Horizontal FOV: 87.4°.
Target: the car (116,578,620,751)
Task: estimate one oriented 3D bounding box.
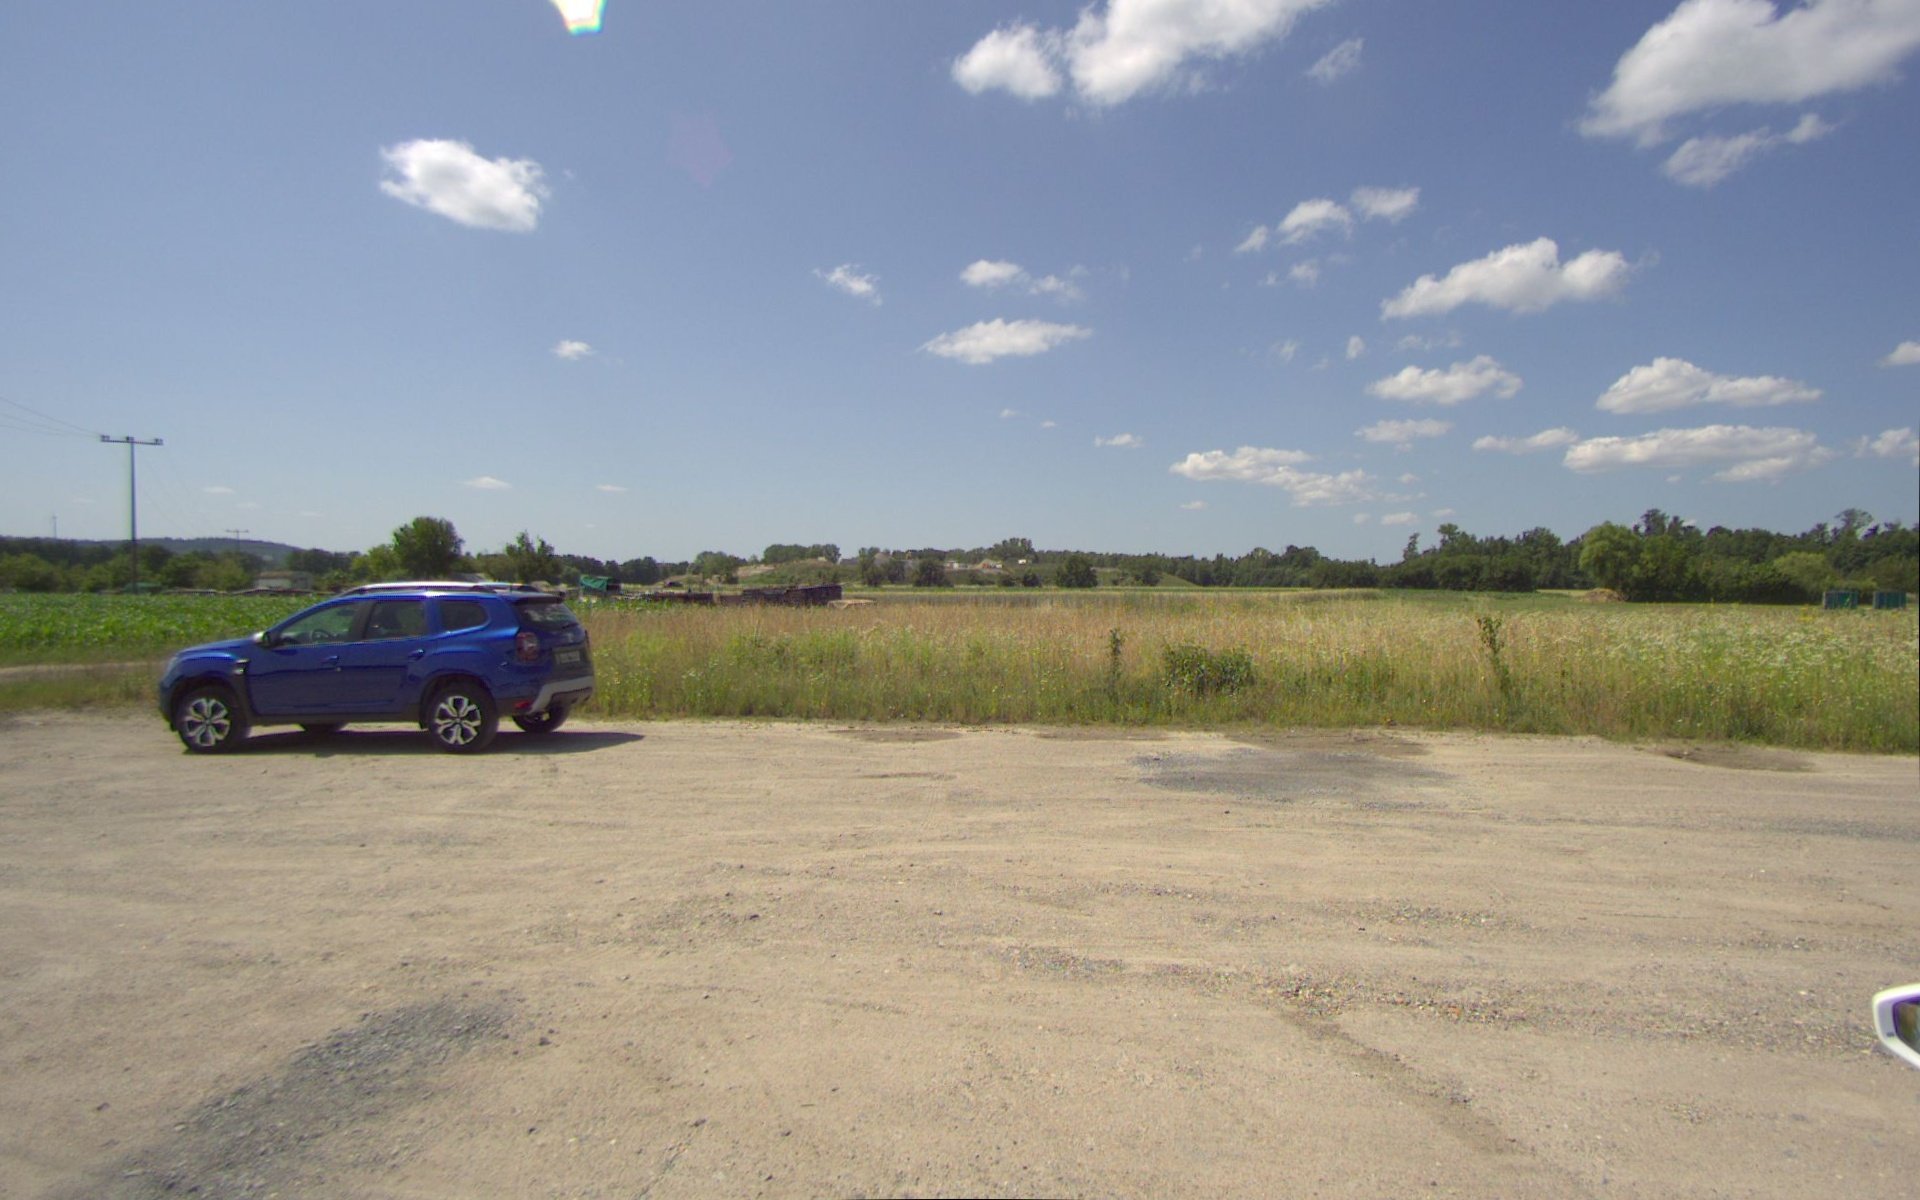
[{"bbox_3d":[-6.189,0.648,10.836,4.369,1.683,1.865,-1,0,4],"label":"car"}]
